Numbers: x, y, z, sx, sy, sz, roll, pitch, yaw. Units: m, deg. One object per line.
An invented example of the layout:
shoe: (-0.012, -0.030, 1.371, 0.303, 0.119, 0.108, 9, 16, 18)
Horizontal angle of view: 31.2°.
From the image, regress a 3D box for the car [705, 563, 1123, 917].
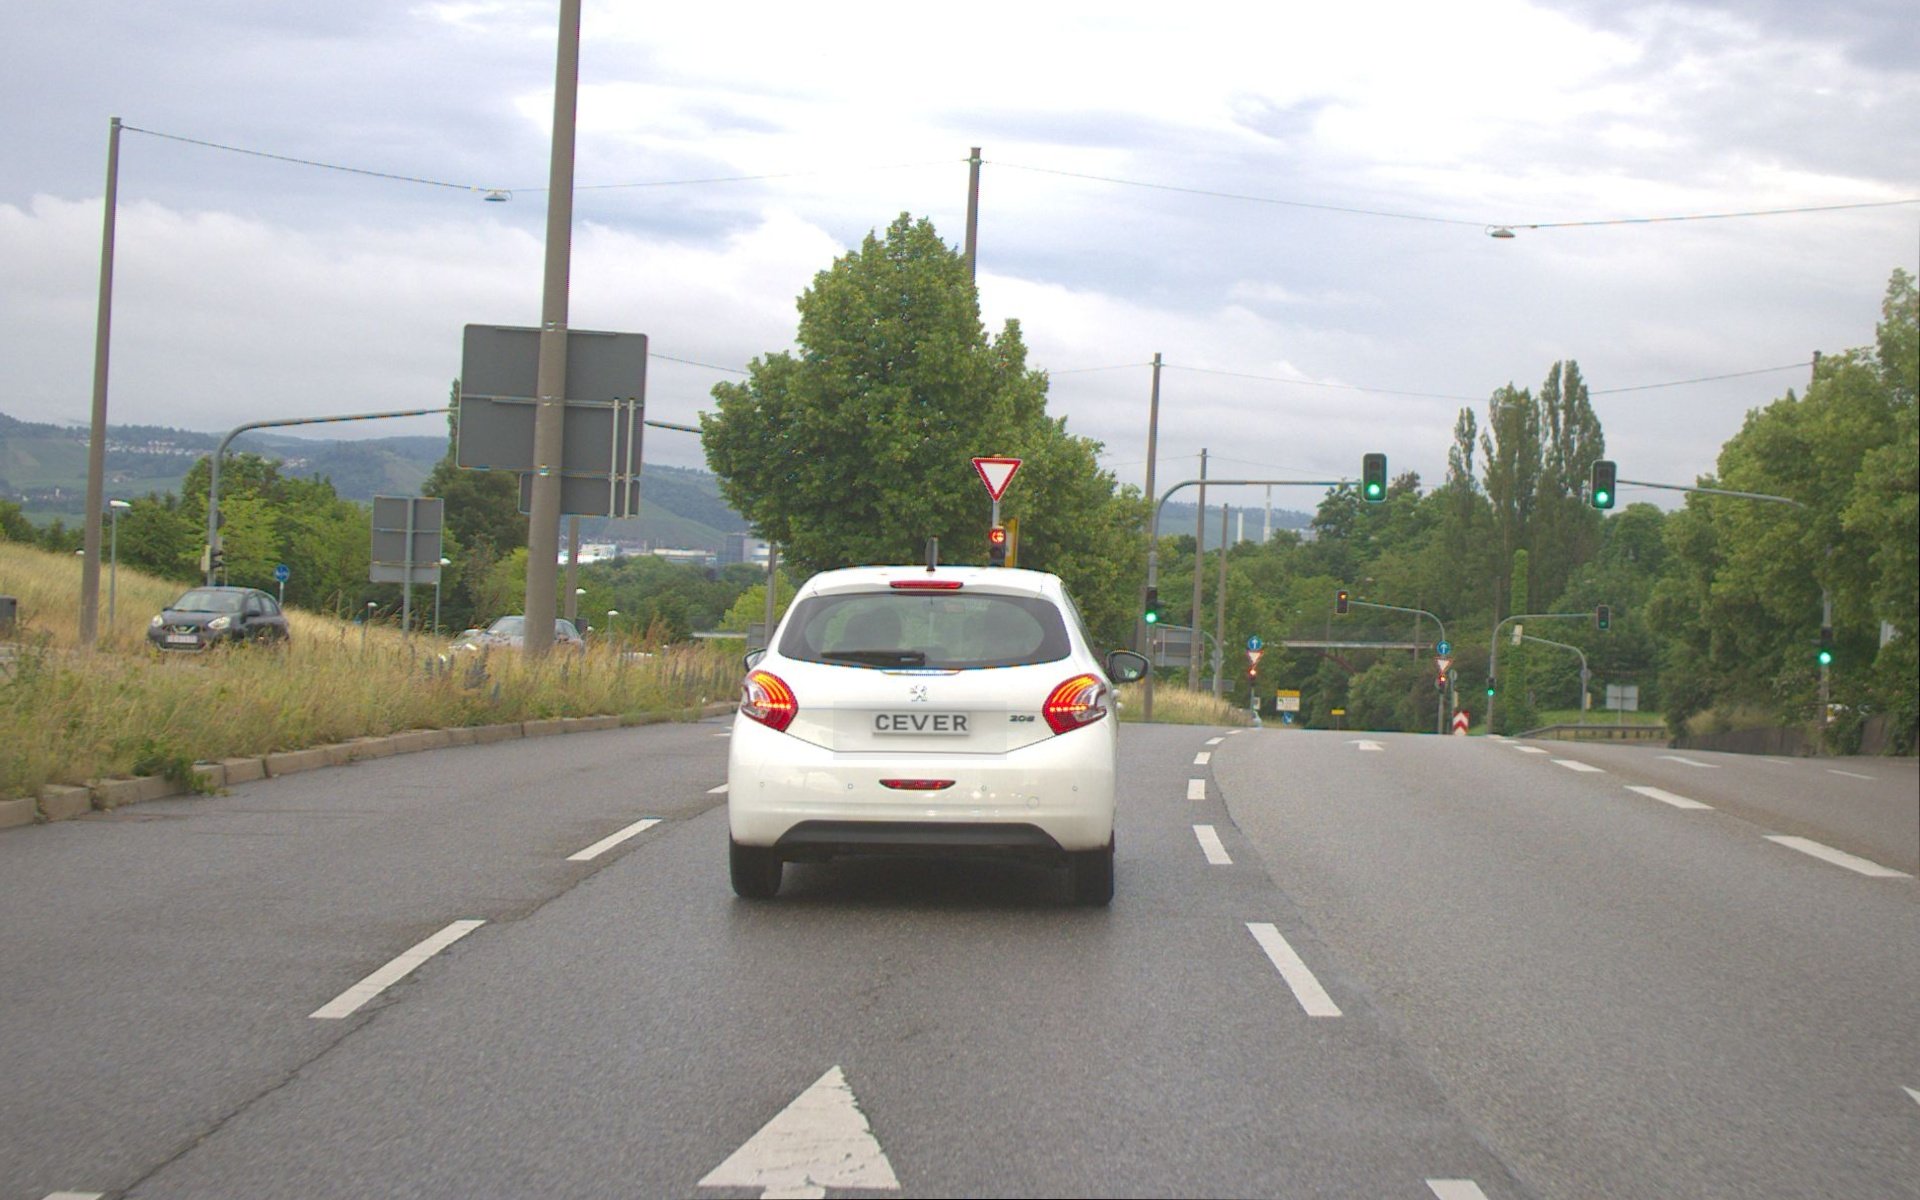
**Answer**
car: (-0.165, 0.562, 16.110, 1.708, 1.435, 3.690, 1, 1, 1)

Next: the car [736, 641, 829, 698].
car: (-5.091, 2.032, 99.324, 1.751, 1.499, 4.462, 3, -2, 9)

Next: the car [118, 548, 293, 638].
car: (-13.876, -0.106, 63.459, 1.768, 1.379, 3.998, 3, -2, 9)
